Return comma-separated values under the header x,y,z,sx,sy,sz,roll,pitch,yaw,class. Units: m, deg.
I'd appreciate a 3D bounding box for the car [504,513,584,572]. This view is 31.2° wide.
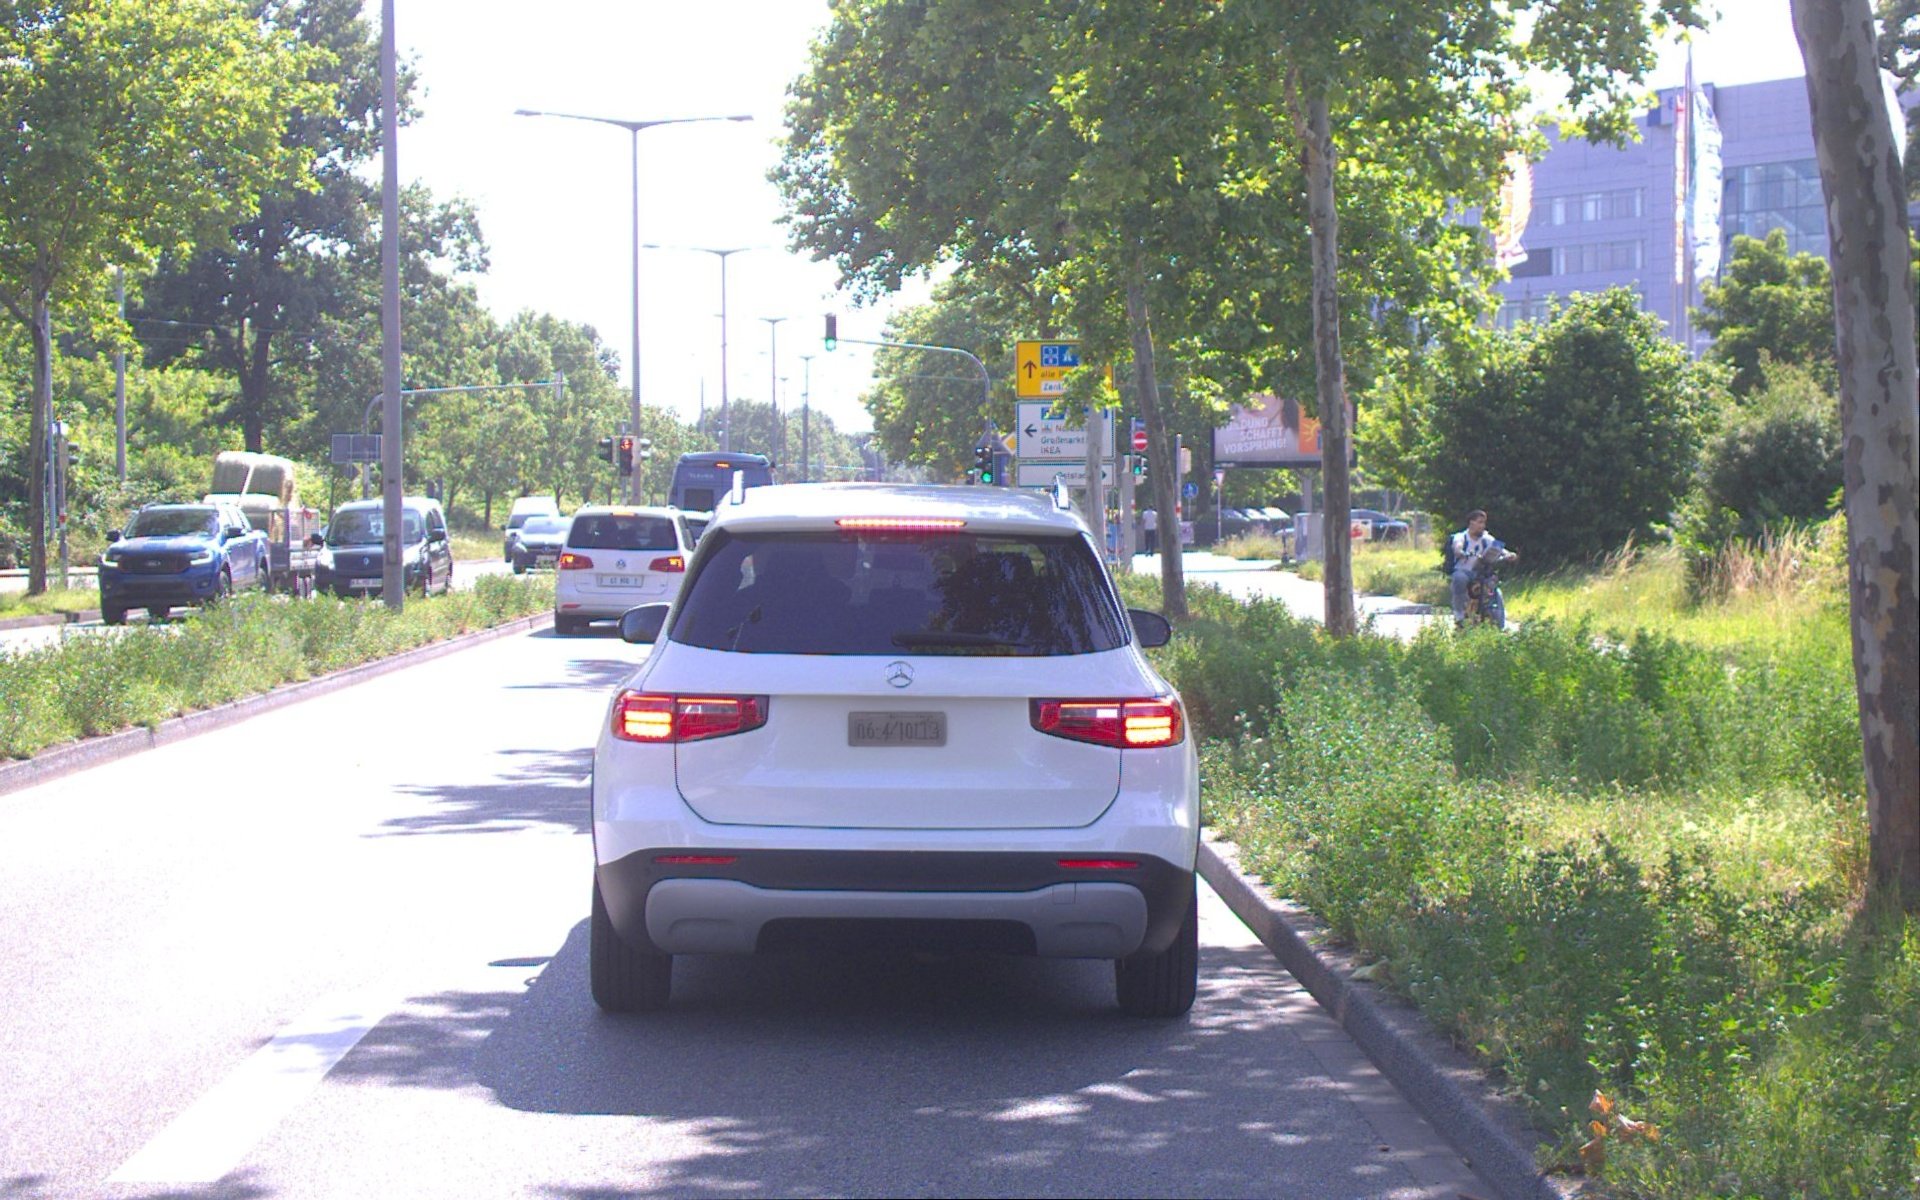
x,y,z,sx,sy,sz,roll,pitch,yaw,class
-10.735,-1.489,88.881,1.603,1.467,3.790,1,1,0,car

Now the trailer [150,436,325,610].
x,y,z,sx,sy,sz,roll,pitch,yaw,class
-12.013,-1.282,57.436,1.880,2.734,4.829,2,1,0,trailer

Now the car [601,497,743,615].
x,y,z,sx,sy,sz,roll,pitch,yaw,class
-4.213,-0.663,50.760,1.771,1.641,4.085,1,1,0,car

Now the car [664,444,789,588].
x,y,z,sx,sy,sz,roll,pitch,yaw,class
-4.489,-1.617,66.724,2.081,2.647,4.874,1,1,0,car

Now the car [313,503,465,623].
x,y,z,sx,sy,sz,roll,pitch,yaw,class
-9.110,-0.609,55.139,1.731,1.803,4.232,2,1,0,car

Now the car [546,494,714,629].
x,y,z,sx,sy,sz,roll,pitch,yaw,class
-4.231,-0.515,44.594,1.771,1.641,4.352,1,1,0,car

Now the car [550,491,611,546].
x,y,z,sx,sy,sz,roll,pitch,yaw,class
-13.589,-2.922,123.225,1.993,1.875,4.001,2,1,-4,car

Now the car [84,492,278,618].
x,y,z,sx,sy,sz,roll,pitch,yaw,class
-11.971,-0.715,53.157,1.764,1.783,5.376,2,1,0,car

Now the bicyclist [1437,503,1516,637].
x,y,z,sx,sy,sz,roll,pitch,yaw,class
5.811,-0.342,38.717,0.704,1.472,1.010,1,1,0,bicyclist

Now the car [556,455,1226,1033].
x,y,z,sx,sy,sz,roll,pitch,yaw,class
-0.209,0.350,11.527,1.853,1.601,4.000,0,1,-1,car

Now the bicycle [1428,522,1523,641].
x,y,z,sx,sy,sz,roll,pitch,yaw,class
5.791,-0.223,38.723,0.722,1.294,2.096,1,1,0,bicycle

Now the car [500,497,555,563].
x,y,z,sx,sy,sz,roll,pitch,yaw,class
-16.298,-2.657,129.791,1.993,2.410,5.141,1,1,-7,car
